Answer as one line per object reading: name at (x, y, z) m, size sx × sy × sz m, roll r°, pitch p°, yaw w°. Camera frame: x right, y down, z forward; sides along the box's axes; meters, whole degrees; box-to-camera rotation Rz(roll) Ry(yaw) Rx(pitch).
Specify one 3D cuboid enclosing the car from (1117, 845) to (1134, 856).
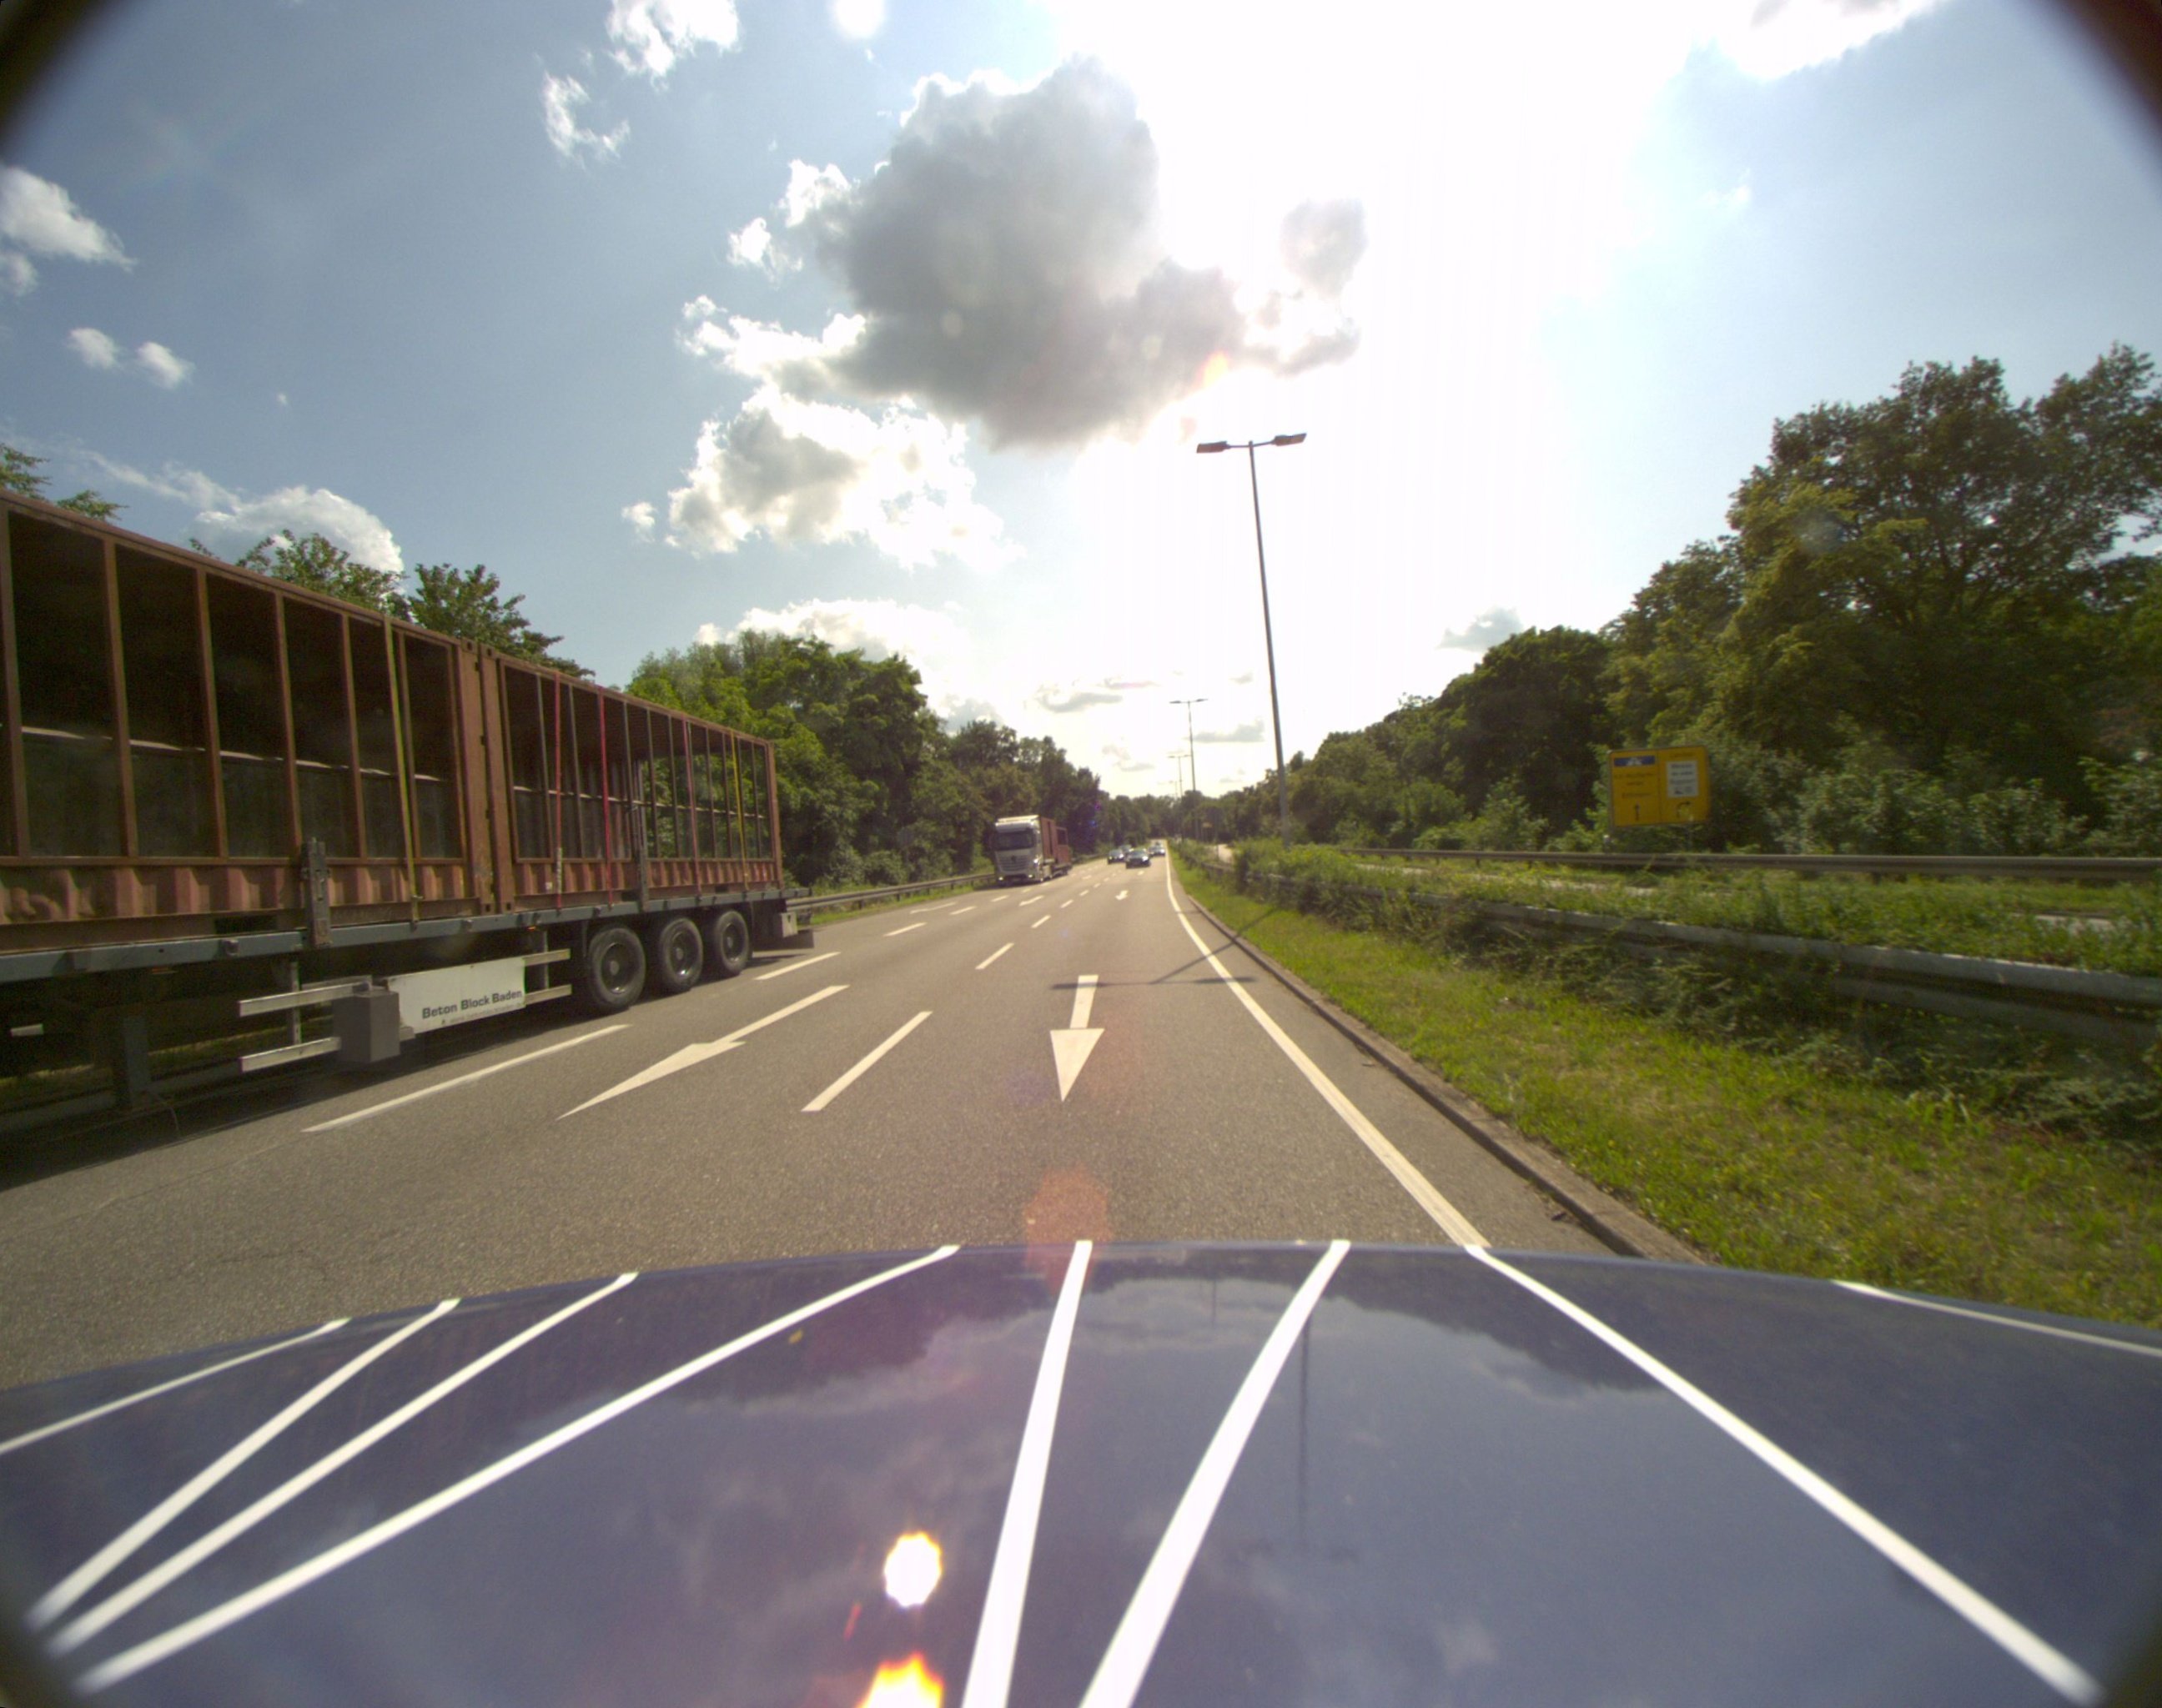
car at (5.806, -0.491, 97.917) m, size 1.998 × 1.330 × 4.001 m, roll -3°, pitch 0°, yaw 5°

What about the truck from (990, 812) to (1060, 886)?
truck at (-3.246, -0.291, 46.042) m, size 2.690 × 3.948 × 7.386 m, roll -5°, pitch 0°, yaw 6°

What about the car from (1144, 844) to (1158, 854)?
car at (10.274, -0.751, 111.230) m, size 1.796 × 1.368 × 4.002 m, roll -3°, pitch 0°, yaw 7°

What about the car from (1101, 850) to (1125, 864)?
car at (3.419, 0.282, 80.053) m, size 1.997 × 1.330 × 4.002 m, roll -3°, pitch 0°, yaw 8°

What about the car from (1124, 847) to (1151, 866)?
car at (4.488, 0.188, 59.981) m, size 1.796 × 1.368 × 4.002 m, roll -3°, pitch 0°, yaw 7°

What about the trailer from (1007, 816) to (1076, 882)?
trailer at (-2.483, -0.344, 53.514) m, size 2.694 × 3.948 × 12.396 m, roll -5°, pitch 0°, yaw 6°

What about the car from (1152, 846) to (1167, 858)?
car at (9.858, -0.306, 95.064) m, size 1.796 × 1.368 × 4.002 m, roll -3°, pitch 0°, yaw 7°

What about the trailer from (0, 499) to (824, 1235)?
trailer at (-6.769, 0.114, 7.352) m, size 2.591 × 3.871 × 14.504 m, roll -5°, pitch 0°, yaw 3°
